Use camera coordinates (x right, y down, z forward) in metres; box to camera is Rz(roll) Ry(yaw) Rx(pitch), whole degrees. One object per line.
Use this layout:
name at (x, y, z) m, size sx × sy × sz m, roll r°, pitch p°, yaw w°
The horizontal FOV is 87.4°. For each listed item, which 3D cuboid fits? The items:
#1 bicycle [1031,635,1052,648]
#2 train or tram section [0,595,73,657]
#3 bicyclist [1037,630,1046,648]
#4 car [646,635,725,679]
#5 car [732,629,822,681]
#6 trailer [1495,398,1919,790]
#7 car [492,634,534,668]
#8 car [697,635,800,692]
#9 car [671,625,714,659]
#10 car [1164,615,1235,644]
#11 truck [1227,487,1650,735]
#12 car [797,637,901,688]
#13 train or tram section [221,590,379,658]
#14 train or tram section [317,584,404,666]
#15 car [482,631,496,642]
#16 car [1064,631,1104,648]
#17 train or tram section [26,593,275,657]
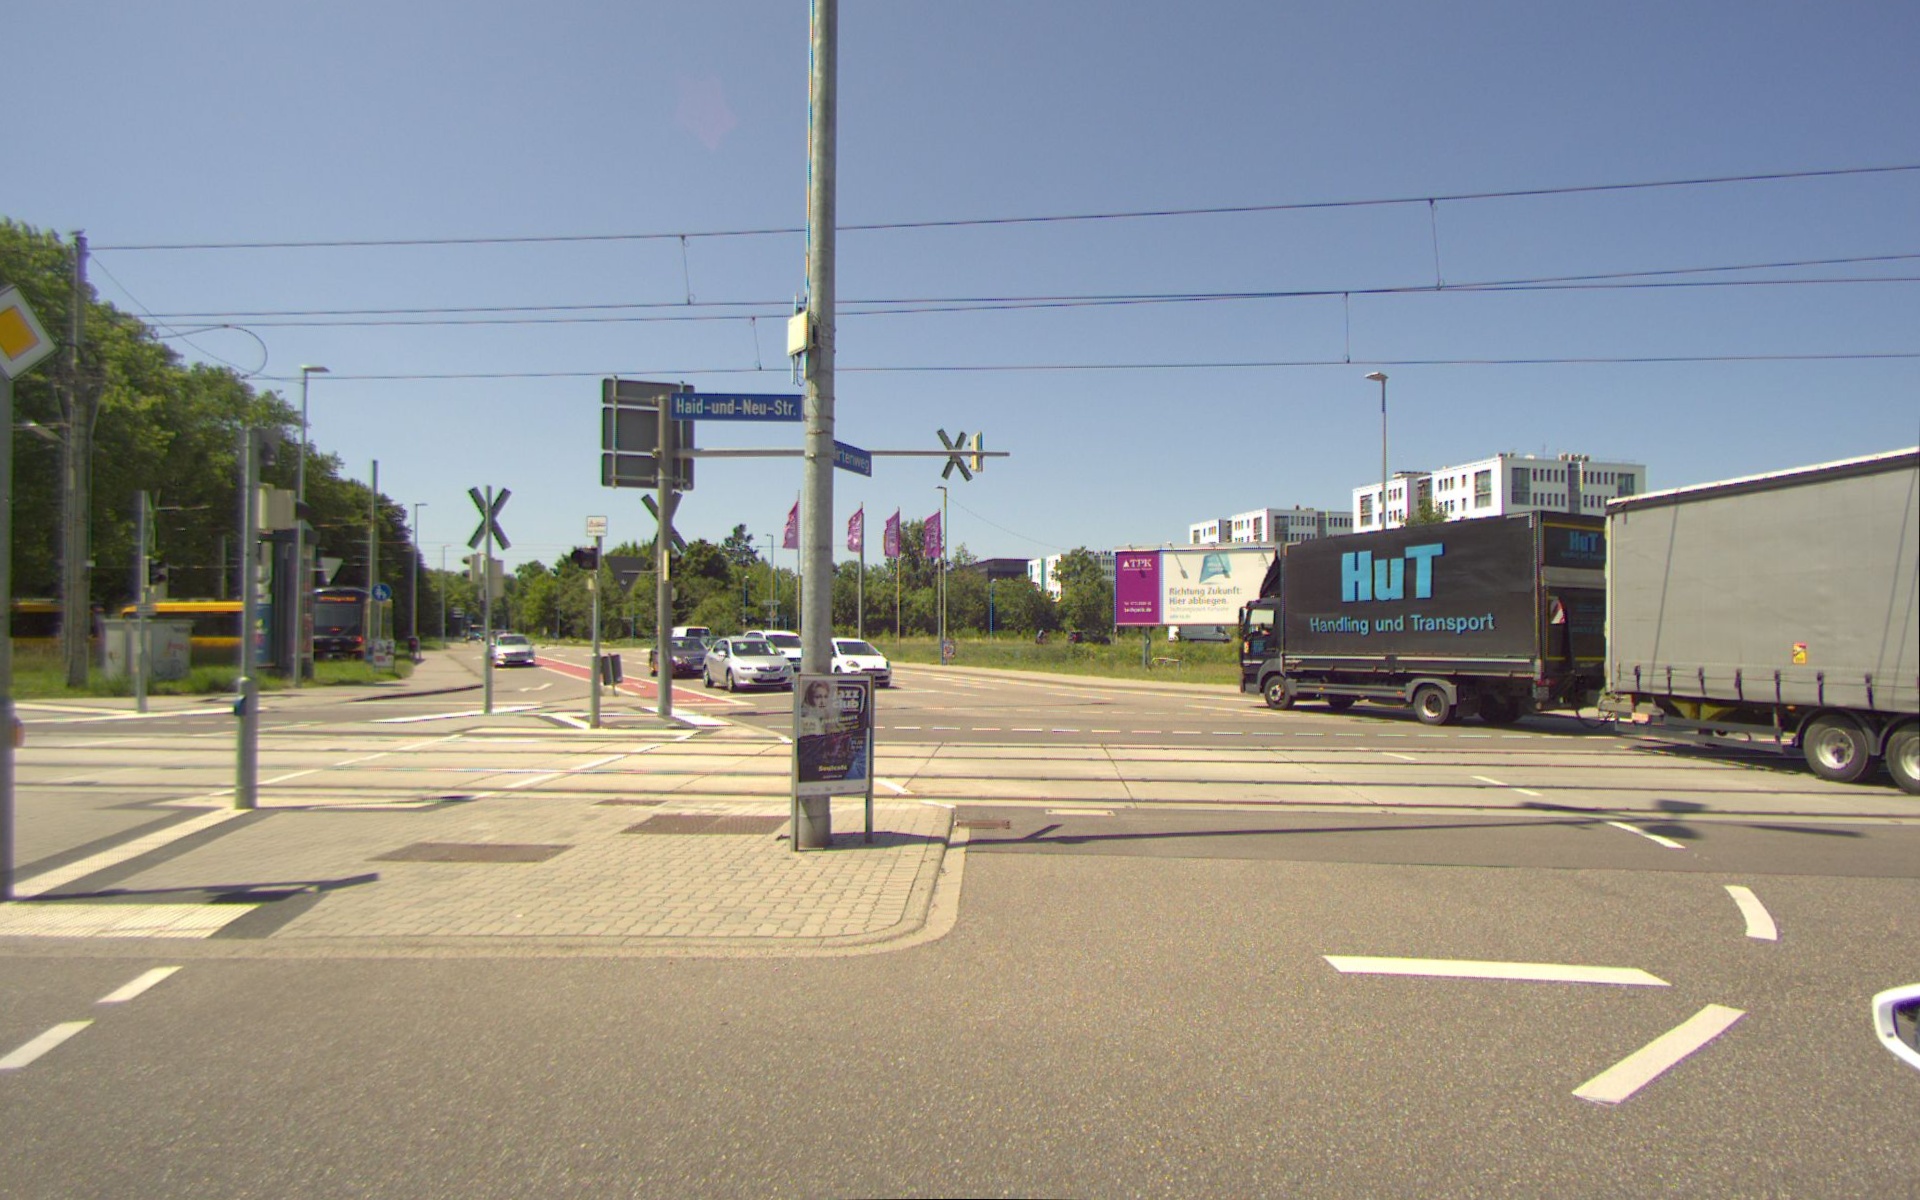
bicycle at (7.955, 4.046, 98.309) m, size 1.937 × 1.196 × 0.610 m, roll 0°, pitch 1°, yaw -22°
train or tram section at (-63.256, 1.641, 60.734) m, size 14.044 × 3.809 × 2.998 m, roll 0°, pitch -1°, yaw -34°
bicyclist at (7.960, 3.811, 98.308) m, size 0.682 × 1.646 × 0.606 m, roll 0°, pitch 1°, yaw -22°
car at (-9.967, 2.009, 36.258) m, size 1.745 × 1.476 × 4.252 m, roll 1°, pitch -2°, yaw -30°
car at (-6.809, 1.962, 36.948) m, size 1.796 × 1.746 × 4.794 m, roll 2°, pitch -2°, yaw -29°
trailer at (11.372, 0.044, 12.841) m, size 3.029 × 4.123 × 9.801 m, roll 1°, pitch -2°, yaw -6°
car at (-21.643, 2.419, 48.572) m, size 1.724 × 1.566 × 4.229 m, roll 0°, pitch -2°, yaw -26°
car at (-6.153, 1.747, 28.849) m, size 1.775 × 1.475 × 4.381 m, roll 1°, pitch -2°, yaw -28°
car at (-16.068, 2.504, 60.217) m, size 1.640 × 1.932 × 3.972 m, roll 1°, pitch -2°, yaw -27°
car at (24.420, 3.070, 102.586) m, size 6.748 × 2.838 × 2.657 m, roll 2°, pitch -3°, yaw -19°
truck at (9.349, 0.334, 20.917) m, size 3.045 × 4.123 × 7.913 m, roll 2°, pitch -2°, yaw -24°
car at (-3.524, 1.911, 31.312) m, size 1.753 × 1.456 × 3.930 m, roll 3°, pitch -3°, yaw -30°
train or tram section at (-39.879, 1.432, 60.507) m, size 11.408 × 3.809 × 3.021 m, roll -1°, pitch -1°, yaw 29°
train or tram section at (-31.718, 1.248, 52.831) m, size 2.996 × 3.809 × 12.866 m, roll 0°, pitch -1°, yaw -35°
car at (-66.609, 5.155, 141.994) m, size 1.607 × 1.475 × 3.475 m, roll 0°, pitch -1°, yaw -29°
car at (12.075, 3.873, 97.830) m, size 3.577 × 1.553 × 1.696 m, roll 3°, pitch -2°, yaw -24°
train or tram section at (-51.194, 1.558, 63.714) m, size 13.767 × 3.809 × 3.027 m, roll -1°, pitch -1°, yaw 3°
